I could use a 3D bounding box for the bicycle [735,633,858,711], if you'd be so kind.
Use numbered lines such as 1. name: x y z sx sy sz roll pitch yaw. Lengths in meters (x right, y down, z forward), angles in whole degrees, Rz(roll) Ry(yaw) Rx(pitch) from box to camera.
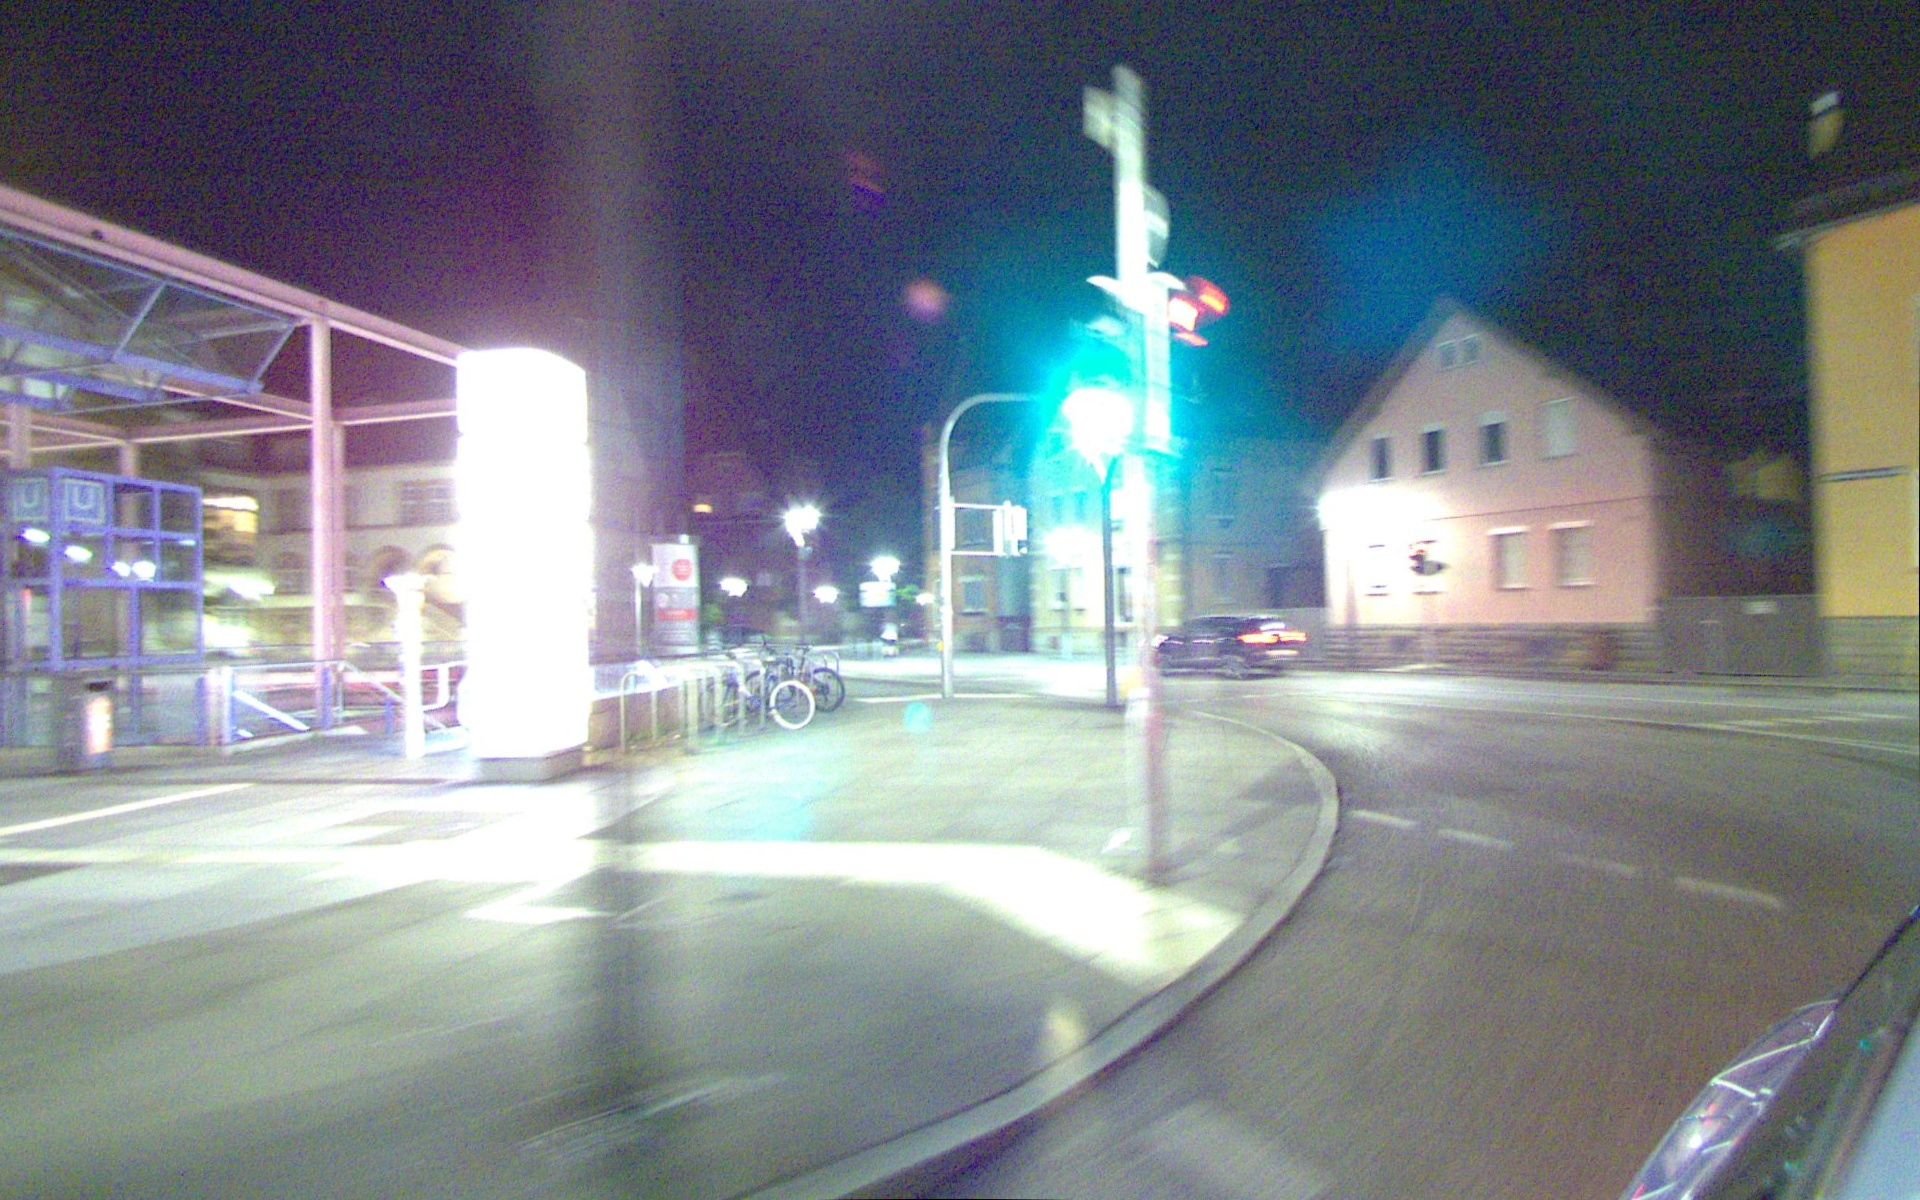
1. bicycle: -2.532 1.110 15.740 1.772 1.142 0.649 -2 -2 8

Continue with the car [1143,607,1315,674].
1. car: 6.959 1.044 26.605 1.709 1.605 4.241 -1 -2 -35

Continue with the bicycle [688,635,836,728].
1. bicycle: -2.584 1.065 13.281 1.772 1.142 0.649 -2 -2 8
